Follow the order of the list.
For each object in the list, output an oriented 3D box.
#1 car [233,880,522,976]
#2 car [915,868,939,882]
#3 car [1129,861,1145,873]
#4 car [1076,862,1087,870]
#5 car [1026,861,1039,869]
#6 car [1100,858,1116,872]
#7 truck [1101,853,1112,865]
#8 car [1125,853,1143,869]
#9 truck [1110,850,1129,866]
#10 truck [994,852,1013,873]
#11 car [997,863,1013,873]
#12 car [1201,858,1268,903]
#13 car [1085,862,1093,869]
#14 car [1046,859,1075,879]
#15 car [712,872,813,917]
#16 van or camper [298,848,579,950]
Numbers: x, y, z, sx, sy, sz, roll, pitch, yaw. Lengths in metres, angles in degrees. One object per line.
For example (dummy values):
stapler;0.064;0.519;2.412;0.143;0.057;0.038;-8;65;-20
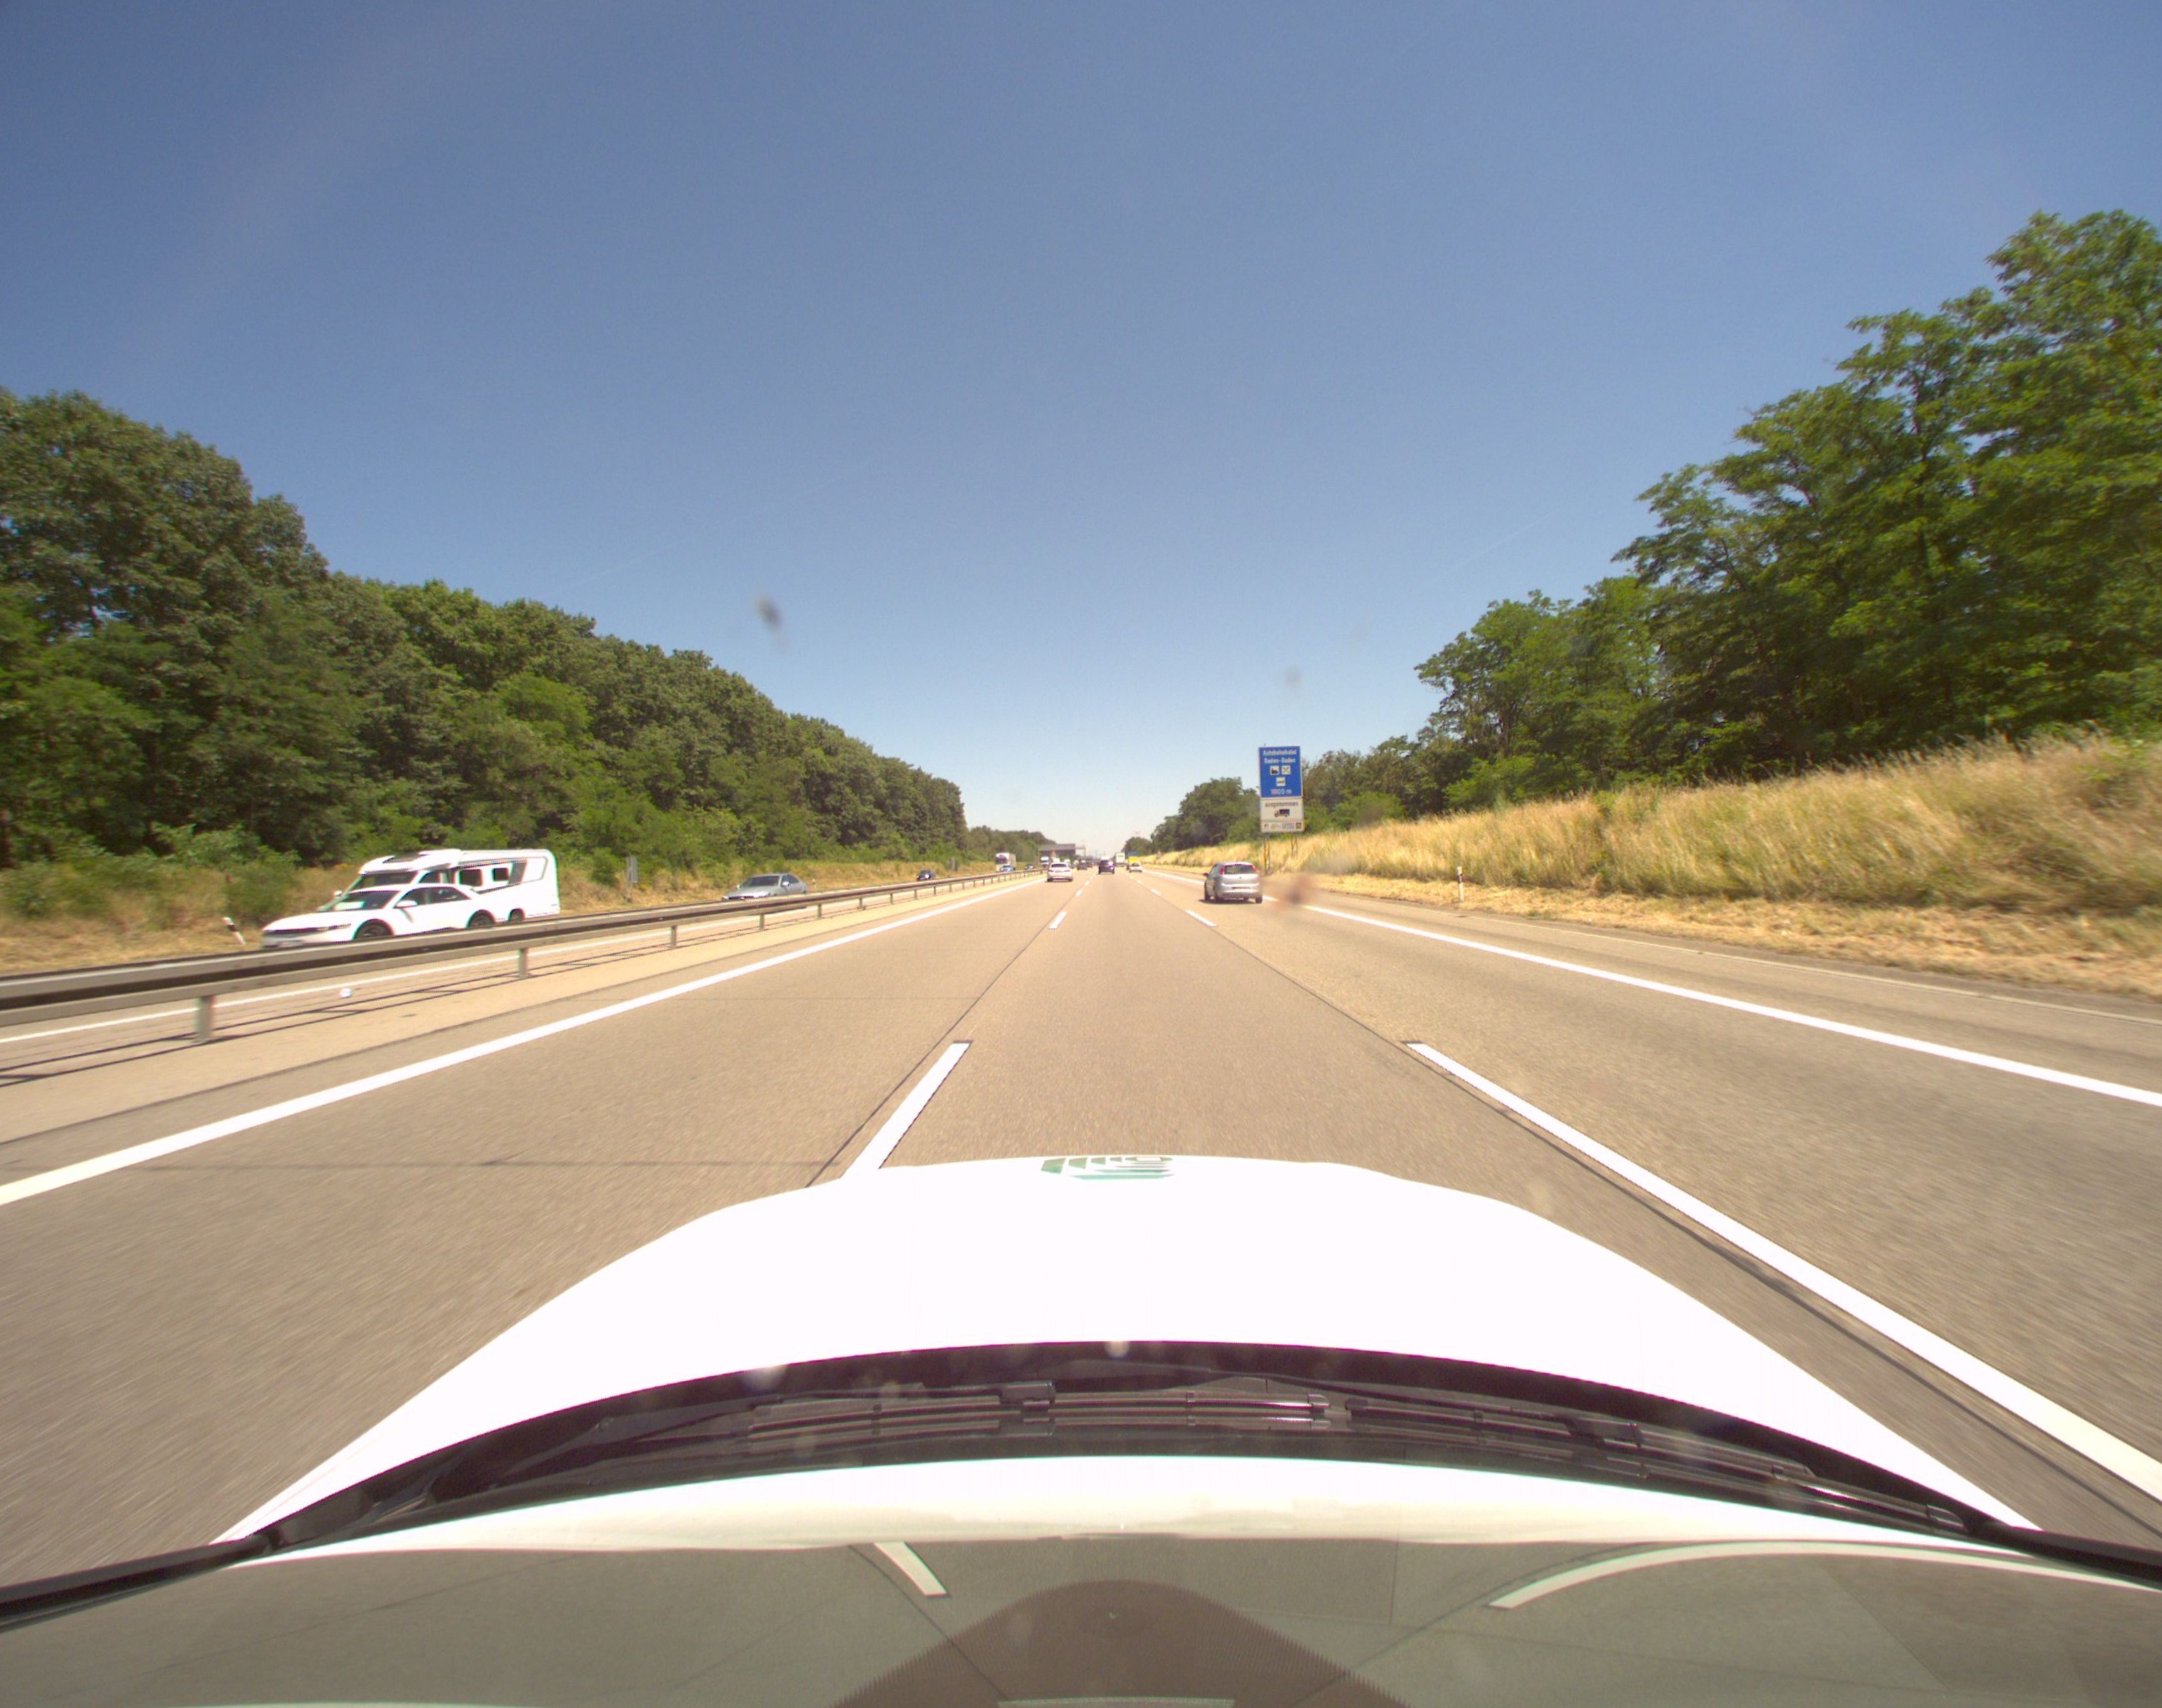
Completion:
car;-15.986;1.577;19.029;1.986;1.694;5.246;-4;-1;2
car;-17.782;2.379;94.065;1.807;1.395;4.113;-4;-1;2
car;7.506;1.751;109.169;1.816;1.492;3.735;0;-1;-1
car;0.129;2.167;146.281;1.825;1.431;5.001;-1;0;2
car;-9.895;2.253;166.715;1.986;1.568;5.192;-4;-1;2
car;3.193;1.286;97.962;1.826;1.672;3.999;0;-1;0
truck;5.828;1.186;187.830;2.421;2.884;6.204;0;-1;0
car;8.892;1.208;137.217;2.658;2.634;6.111;-1;-1;0
truck;10.918;1.227;233.146;3.986;4.315;9.862;1;-1;-5
truck;-15.876;1.732;167.373;2.894;4.067;5.654;-4;-1;1
car;-12.626;2.353;135.368;1.986;1.568;4.529;-4;-1;2
car;5.475;0.904;29.386;1.714;1.491;3.736;0;0;0
car;1.952;2.685;196.889;1.868;1.580;3.931;-1;0;3
car;-1.512;1.127;62.470;1.956;1.504;5.406;-1;-1;1
car;-11.674;1.427;30.187;1.830;1.373;4.353;-4;-1;2
van or camper;-19.697;1.243;25.810;2.453;2.575;7.772;-4;-1;2
